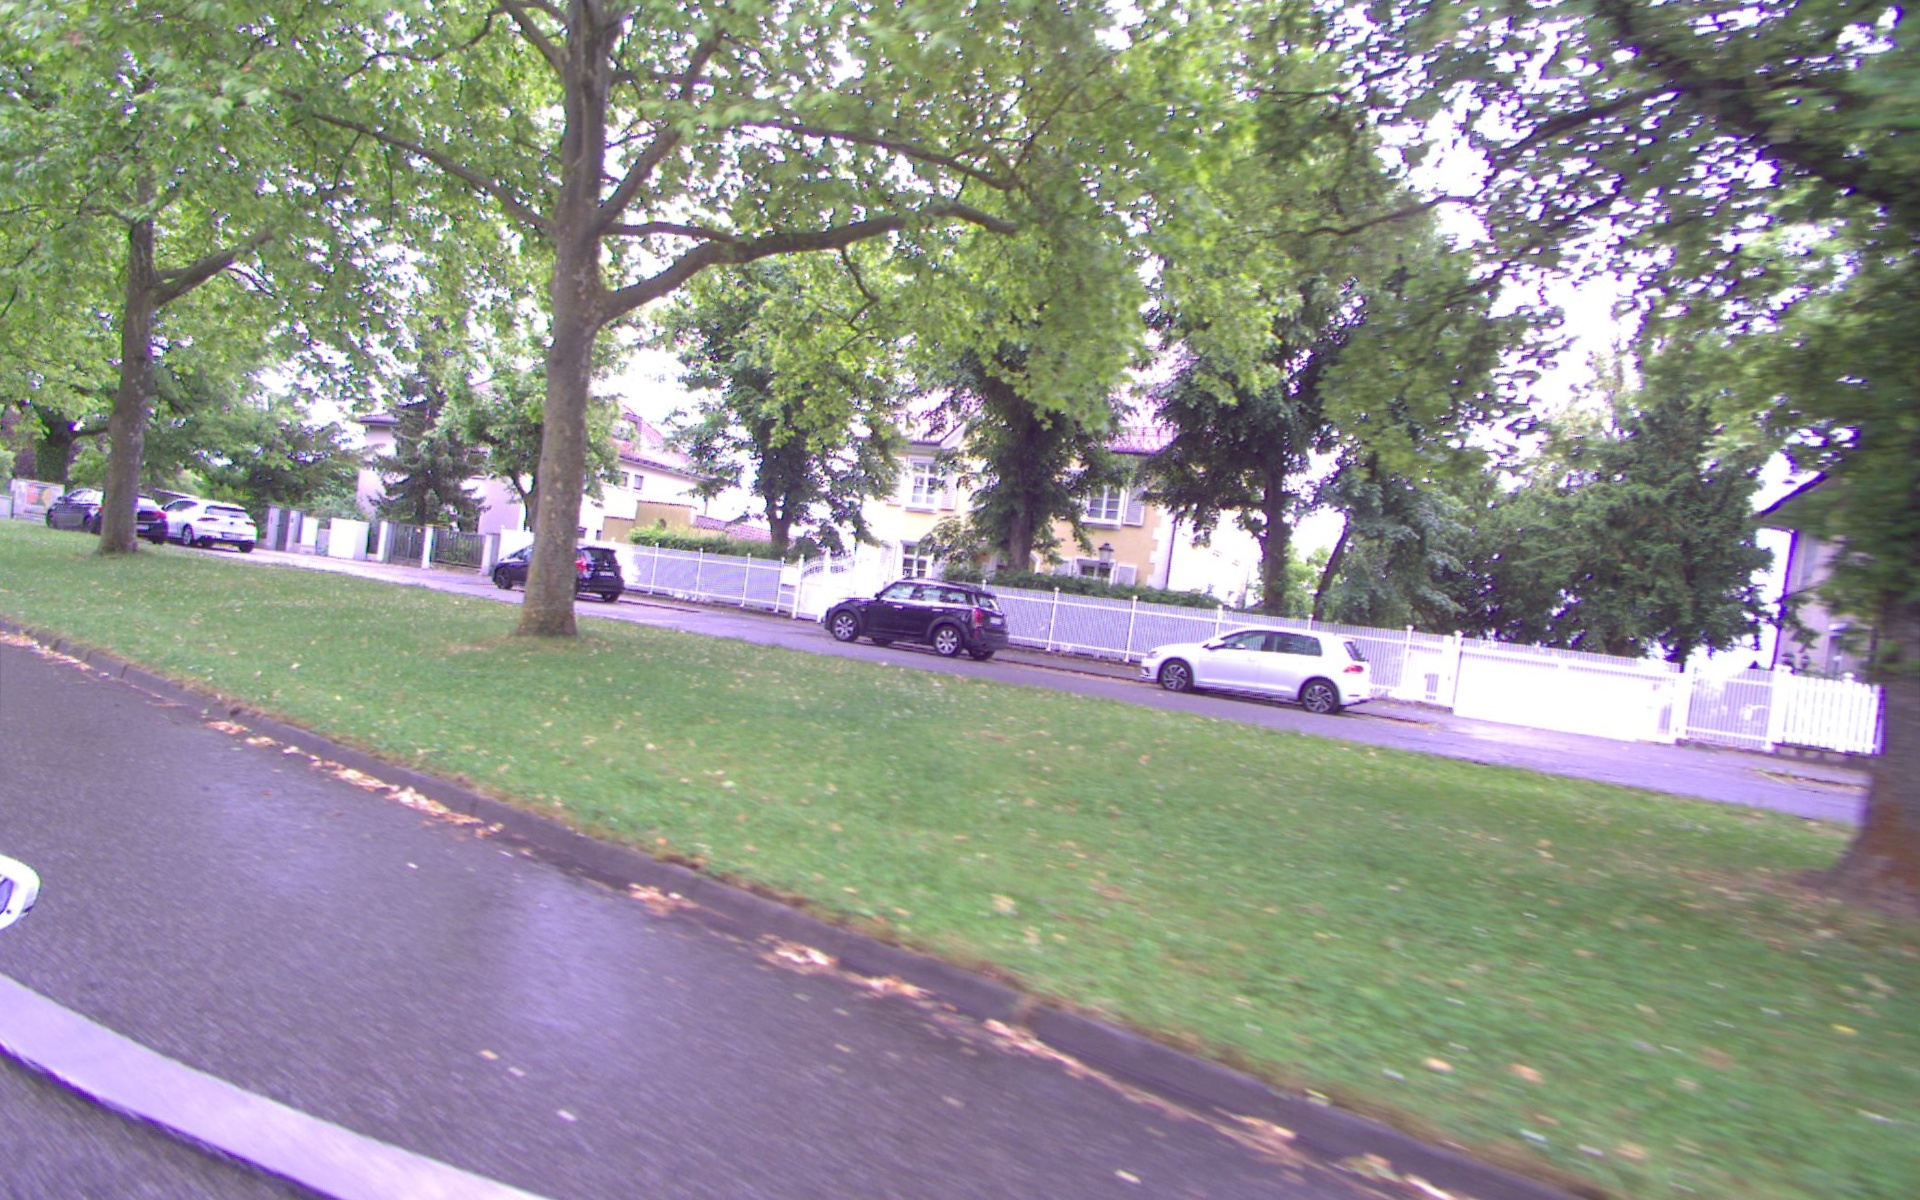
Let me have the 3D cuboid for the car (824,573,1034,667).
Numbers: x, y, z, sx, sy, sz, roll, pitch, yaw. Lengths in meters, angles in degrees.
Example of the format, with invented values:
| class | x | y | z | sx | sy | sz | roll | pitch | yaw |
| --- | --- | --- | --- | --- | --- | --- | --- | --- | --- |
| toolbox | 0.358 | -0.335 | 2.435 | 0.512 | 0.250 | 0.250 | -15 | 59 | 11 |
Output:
| class | x | y | z | sx | sy | sz | roll | pitch | yaw |
| --- | --- | --- | --- | --- | --- | --- | --- | --- | --- |
| car | -0.687 | 0.444 | 22.182 | 4.053 | 1.488 | 1.999 | 6 | -2 | 28 |

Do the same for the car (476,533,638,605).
| class | x | y | z | sx | sy | sz | roll | pitch | yaw |
| --- | --- | --- | --- | --- | --- | --- | --- | --- | --- |
| car | -11.259 | -0.869 | 28.059 | 4.281 | 1.489 | 1.764 | 6 | -1 | 28 |

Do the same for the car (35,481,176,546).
| class | x | y | z | sx | sy | sz | roll | pitch | yaw |
| --- | --- | --- | --- | --- | --- | --- | --- | --- | --- |
| car | -25.127 | -2.558 | 29.551 | 4.521 | 1.490 | 1.765 | 6 | 1 | 31 |

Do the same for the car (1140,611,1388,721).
| class | x | y | z | sx | sy | sz | roll | pitch | yaw |
| --- | --- | --- | --- | --- | --- | --- | --- | --- | --- |
| car | 5.730 | 1.236 | 18.962 | 4.053 | 1.465 | 1.999 | 6 | -2 | 28 |

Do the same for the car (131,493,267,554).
| class | x | y | z | sx | sy | sz | roll | pitch | yaw |
| --- | --- | --- | --- | --- | --- | --- | --- | --- | --- |
| car | -24.068 | -2.424 | 31.785 | 4.351 | 1.490 | 1.847 | 6 | 1 | 30 |
